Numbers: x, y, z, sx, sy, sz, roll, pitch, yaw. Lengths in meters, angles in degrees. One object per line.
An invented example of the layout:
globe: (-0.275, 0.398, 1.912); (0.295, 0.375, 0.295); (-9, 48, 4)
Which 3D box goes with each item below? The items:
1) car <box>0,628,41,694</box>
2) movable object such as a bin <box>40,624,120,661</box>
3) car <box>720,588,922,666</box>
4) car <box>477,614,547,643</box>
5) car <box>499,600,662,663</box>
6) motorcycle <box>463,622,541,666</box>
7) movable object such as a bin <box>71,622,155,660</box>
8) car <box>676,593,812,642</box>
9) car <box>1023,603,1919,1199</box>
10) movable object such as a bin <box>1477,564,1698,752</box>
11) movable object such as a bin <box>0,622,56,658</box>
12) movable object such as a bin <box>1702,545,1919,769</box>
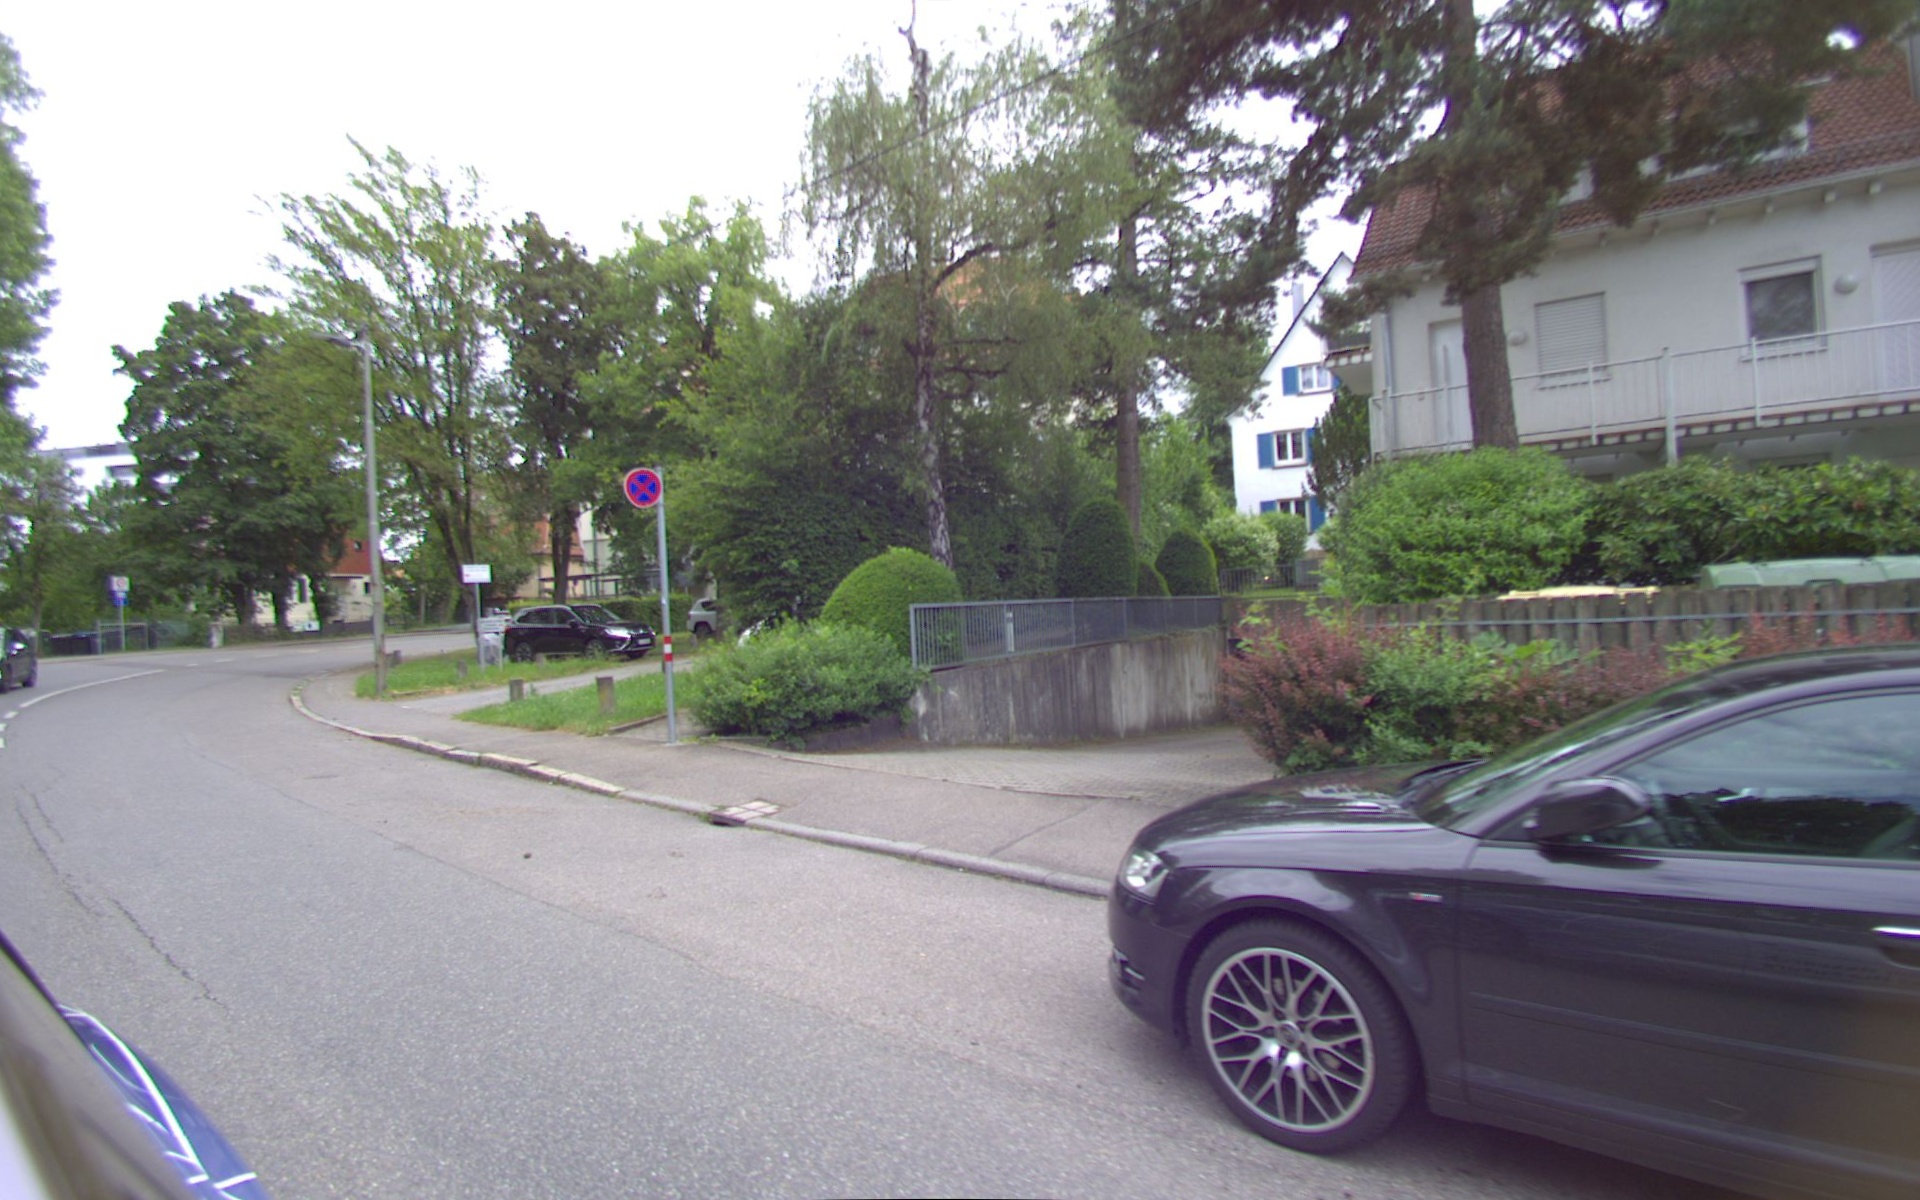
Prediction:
car: (-22.188, 1.362, 22.653); (1.619, 1.409, 3.793); (0, -1, -30)
movable object such as a bin: (-45.431, 2.171, 52.267); (2.211, 1.745, 2.201); (-2, 0, 10)
car: (-3.150, 0.609, 22.801); (4.248, 1.606, 1.732); (-2, 0, 26)
car: (-24.134, 1.514, 54.729); (1.708, 1.468, 4.073); (1, -1, 4)
car: (-10.711, 0.900, 28.529); (4.306, 1.606, 1.734); (-2, 0, 24)
motorcycle: (-13.618, 1.298, 30.141); (0.860, 1.160, 2.050); (-2, 0, 24)
movable object such as a bin: (-43.152, 2.080, 51.613); (2.473, 1.726, 2.201); (-2, 0, 11)
car: (-7.961, 0.651, 37.370); (4.557, 1.545, 1.943); (-3, 0, 21)
car: (2.485, 0.724, 2.591); (4.500, 1.429, 1.717); (-1, -1, 40)
movable object such as a bin: (5.140, 0.446, 8.285); (1.391, 1.373, 1.103); (-4, -1, 37)
movable object such as a bin: (-43.102, 1.844, 46.592); (1.409, 1.559, 1.672); (-2, 0, 7)
movable object such as a bin: (6.332, 0.385, 7.343); (1.451, 1.478, 1.083); (-4, -1, 37)
